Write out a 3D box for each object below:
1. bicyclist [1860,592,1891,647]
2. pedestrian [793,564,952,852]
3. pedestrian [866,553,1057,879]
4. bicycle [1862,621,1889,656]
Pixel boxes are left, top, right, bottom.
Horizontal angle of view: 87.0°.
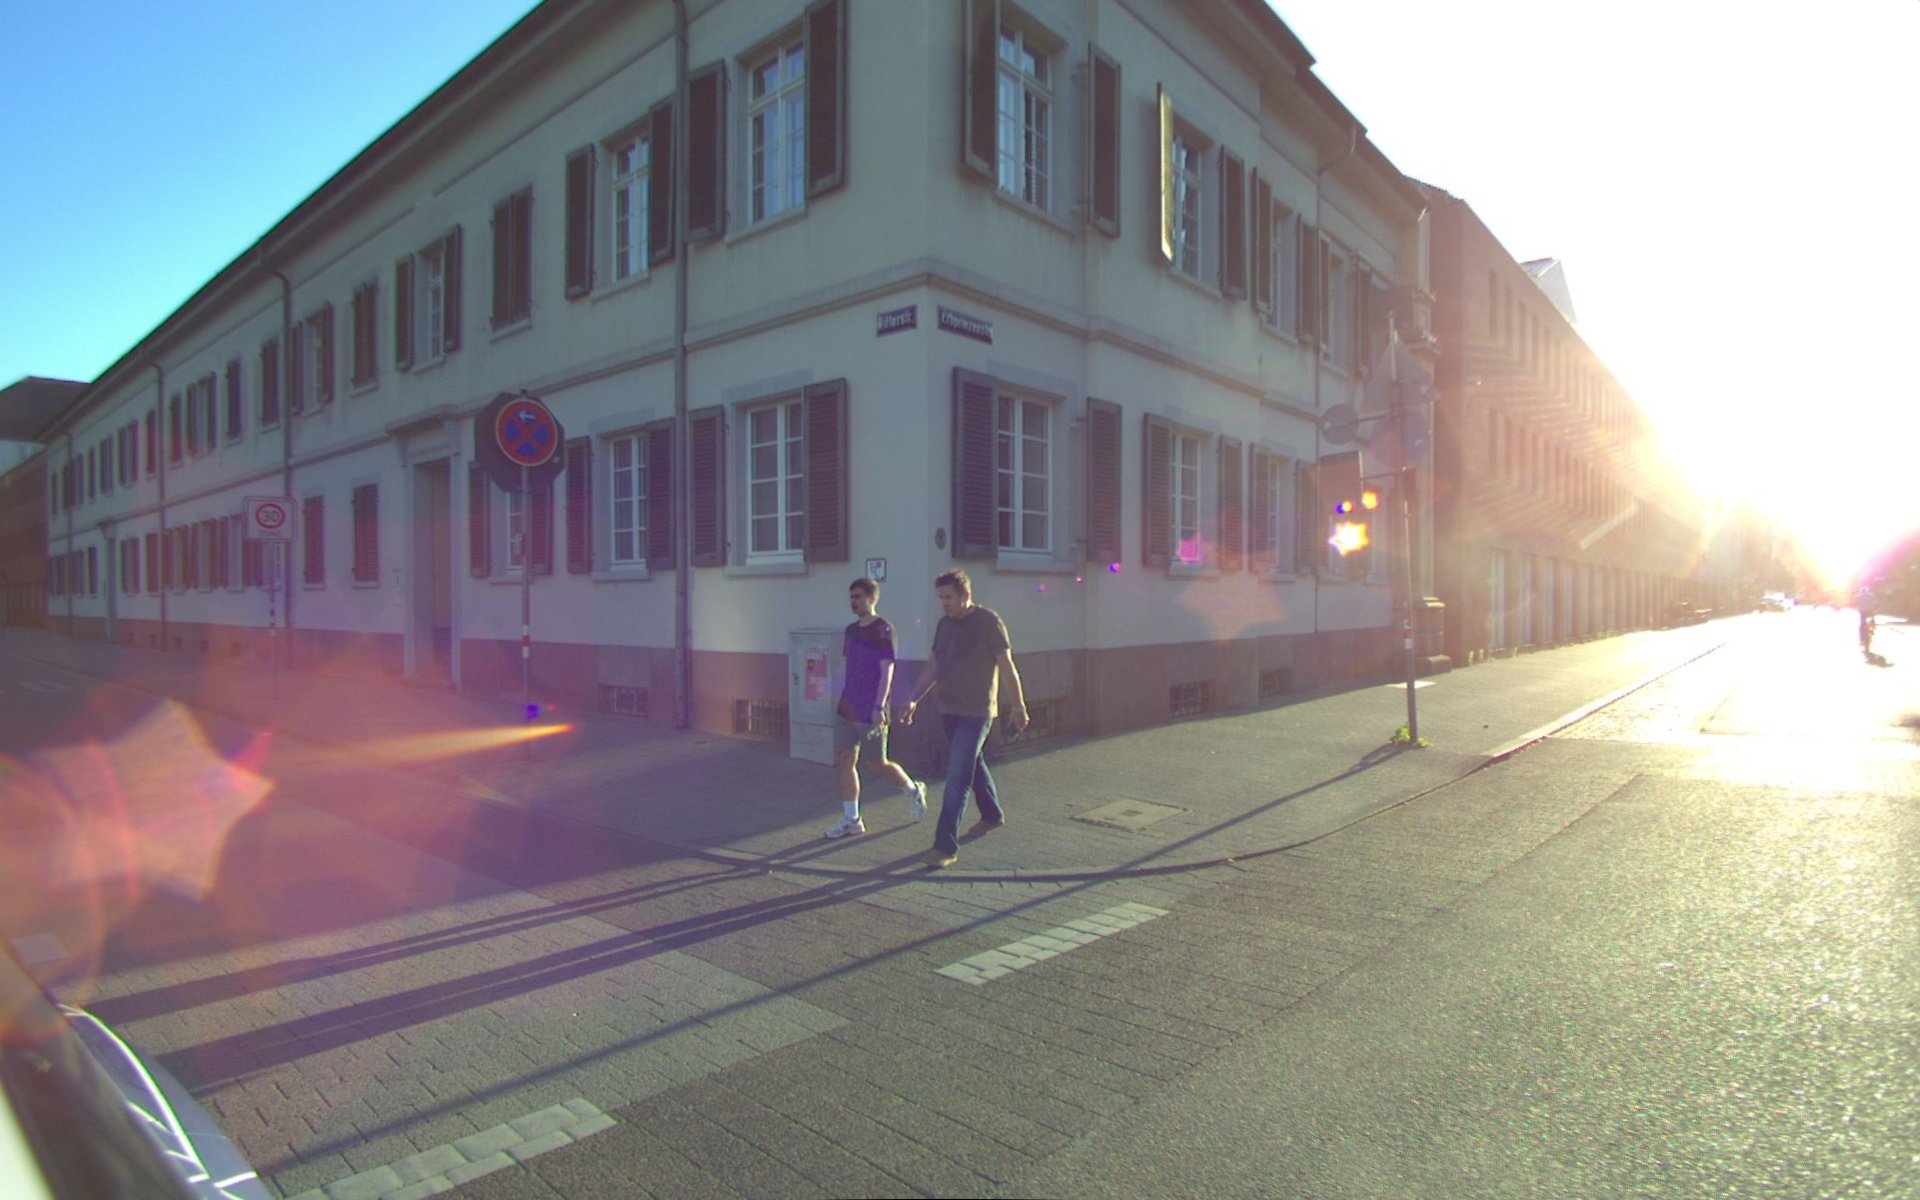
[{"bbox_3d":[26.117,0.549,28.872,0.630,1.563,0.667,-1,-1,43],"label":"bicyclist"},{"bbox_3d":[-0.569,0.665,6.712,0.649,1.753,0.848,0,-1,39],"label":"pedestrian"},{"bbox_3d":[0.022,0.645,6.204,0.761,1.801,0.929,0,-1,39],"label":"pedestrian"},{"bbox_3d":[26.057,1.075,28.793,0.533,0.940,1.809,-1,-1,43],"label":"bicycle"}]
